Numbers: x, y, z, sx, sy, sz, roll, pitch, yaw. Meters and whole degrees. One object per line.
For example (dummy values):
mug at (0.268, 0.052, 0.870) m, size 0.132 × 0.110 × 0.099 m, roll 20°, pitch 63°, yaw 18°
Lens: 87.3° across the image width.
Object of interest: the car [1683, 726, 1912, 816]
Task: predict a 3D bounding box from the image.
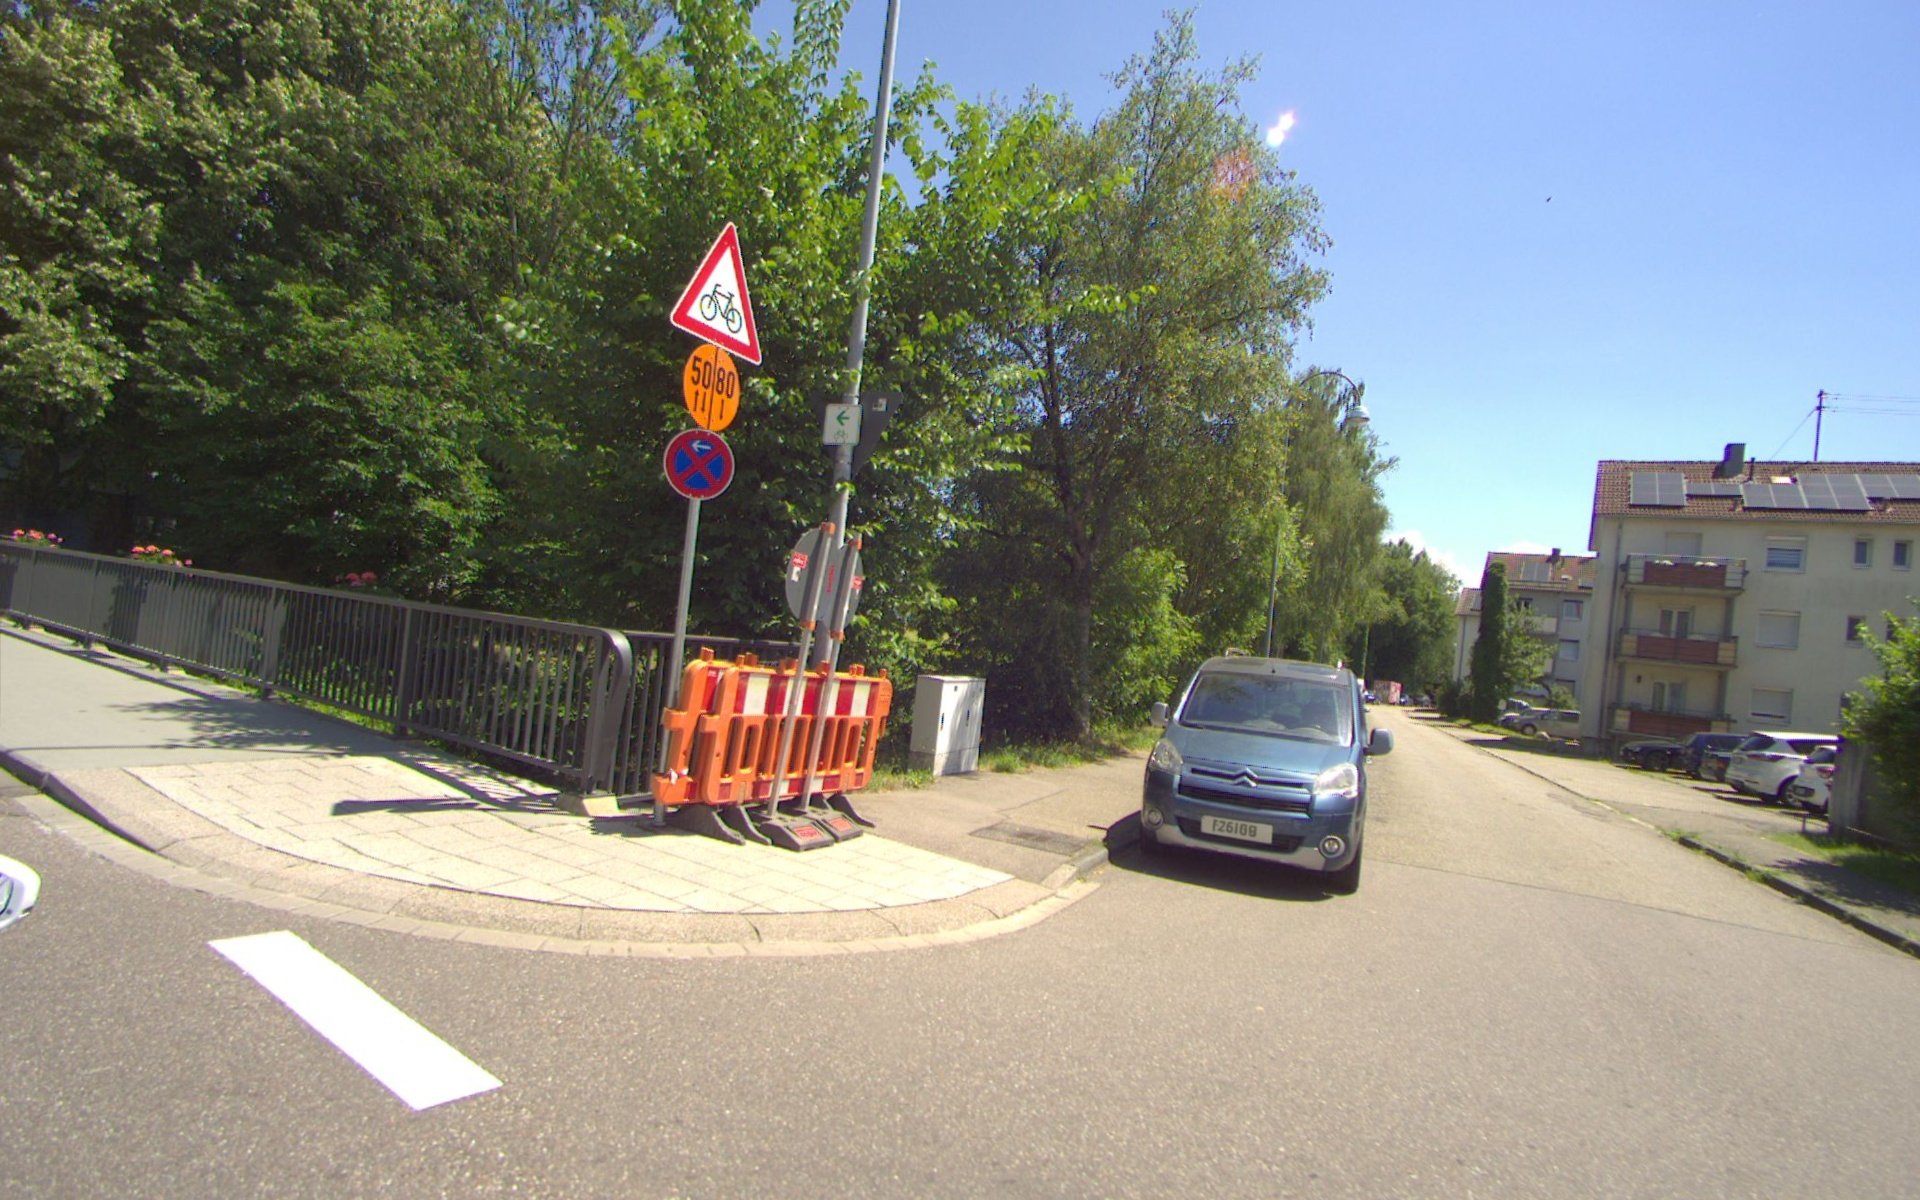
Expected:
car at (20.282, 4.101, 24.554) m, size 3.847 × 1.437 × 1.620 m, roll 6°, pitch -1°, yaw 20°

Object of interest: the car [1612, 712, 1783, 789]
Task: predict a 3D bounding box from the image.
car at (23.007, 4.653, 31.595) m, size 3.932 × 1.711 × 1.970 m, roll 6°, pitch -1°, yaw 29°

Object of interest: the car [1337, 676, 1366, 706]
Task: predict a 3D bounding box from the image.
car at (36.636, 8.548, 94.046) m, size 2.222 × 2.437 × 5.435 m, roll 6°, pitch -3°, yaw 23°

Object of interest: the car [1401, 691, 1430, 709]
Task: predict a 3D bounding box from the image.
car at (54.590, 12.004, 120.571) m, size 1.972 × 1.596 × 4.498 m, roll 5°, pitch -4°, yaw 40°

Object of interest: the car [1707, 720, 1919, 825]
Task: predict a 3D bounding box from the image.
car at (19.266, 3.802, 22.207) m, size 3.926 × 1.648 × 2.001 m, roll 6°, pitch -1°, yaw 20°

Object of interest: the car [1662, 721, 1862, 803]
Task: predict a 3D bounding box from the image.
car at (22.883, 4.601, 28.900) m, size 3.926 × 1.582 × 2.001 m, roll 6°, pitch -1°, yaw 20°

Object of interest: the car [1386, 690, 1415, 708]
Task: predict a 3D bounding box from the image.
car at (50.877, 11.401, 116.161) m, size 1.970 × 1.596 × 4.502 m, roll 6°, pitch -4°, yaw 37°

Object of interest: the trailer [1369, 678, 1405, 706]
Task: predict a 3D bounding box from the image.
trailer at (47.558, 10.243, 112.028) m, size 2.230 × 2.616 × 5.278 m, roll 6°, pitch -3°, yaw 37°

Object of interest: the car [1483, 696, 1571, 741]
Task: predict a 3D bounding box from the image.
car at (30.842, 6.425, 54.863) m, size 3.931 × 1.804 × 1.998 m, roll 6°, pitch -1°, yaw 29°

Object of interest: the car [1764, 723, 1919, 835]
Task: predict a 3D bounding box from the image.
car at (18.861, 3.658, 19.993) m, size 3.926 × 1.804 × 2.001 m, roll 6°, pitch -1°, yaw 20°

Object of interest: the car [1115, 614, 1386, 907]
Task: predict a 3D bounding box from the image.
car at (2.881, 1.328, 9.278) m, size 1.718 × 1.859 × 4.355 m, roll 6°, pitch -3°, yaw 23°

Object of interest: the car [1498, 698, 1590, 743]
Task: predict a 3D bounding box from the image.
car at (30.522, 6.281, 52.741) m, size 3.931 × 1.704 × 1.998 m, roll 6°, pitch -1°, yaw 29°
